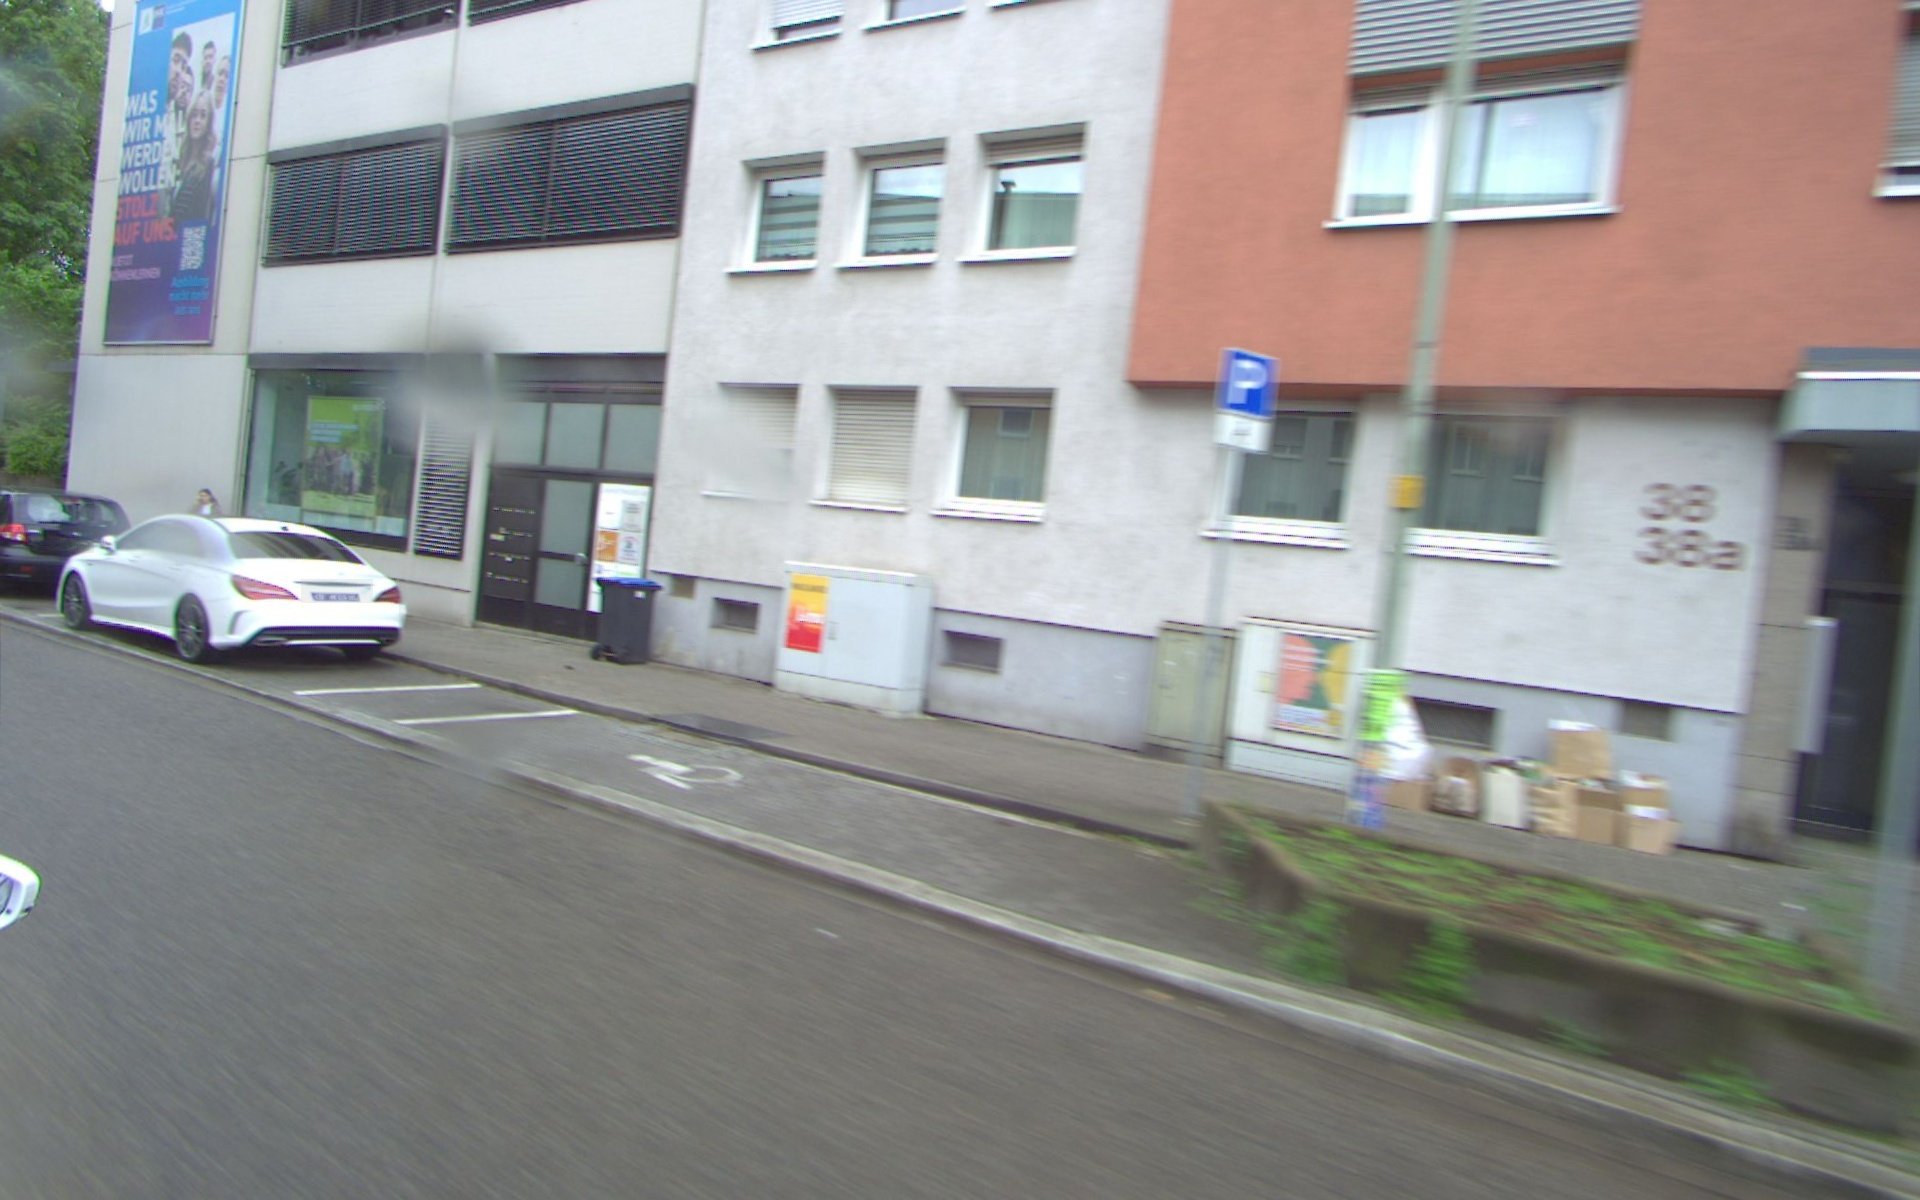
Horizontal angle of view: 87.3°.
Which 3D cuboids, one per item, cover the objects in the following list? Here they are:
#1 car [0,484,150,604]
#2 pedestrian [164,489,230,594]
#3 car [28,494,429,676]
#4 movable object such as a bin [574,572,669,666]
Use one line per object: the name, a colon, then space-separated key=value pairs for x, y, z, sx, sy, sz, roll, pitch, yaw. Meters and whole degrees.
car: x=-13.531 y=-0.902 z=14.471 sx=4.015 sy=1.461 sz=1.714 roll=7 pitch=2 yaw=33
pedestrian: x=-13.370 y=-1.014 z=17.633 sx=0.669 sy=1.760 sz=0.613 roll=6 pitch=3 yaw=24
car: x=-8.035 y=-0.224 z=10.956 sx=4.501 sy=1.420 sz=1.776 roll=7 pitch=2 yaw=29
movable object such as a bin: x=-4.291 y=0.243 z=12.758 sx=0.770 sy=1.082 sz=0.714 roll=7 pitch=1 yaw=25
